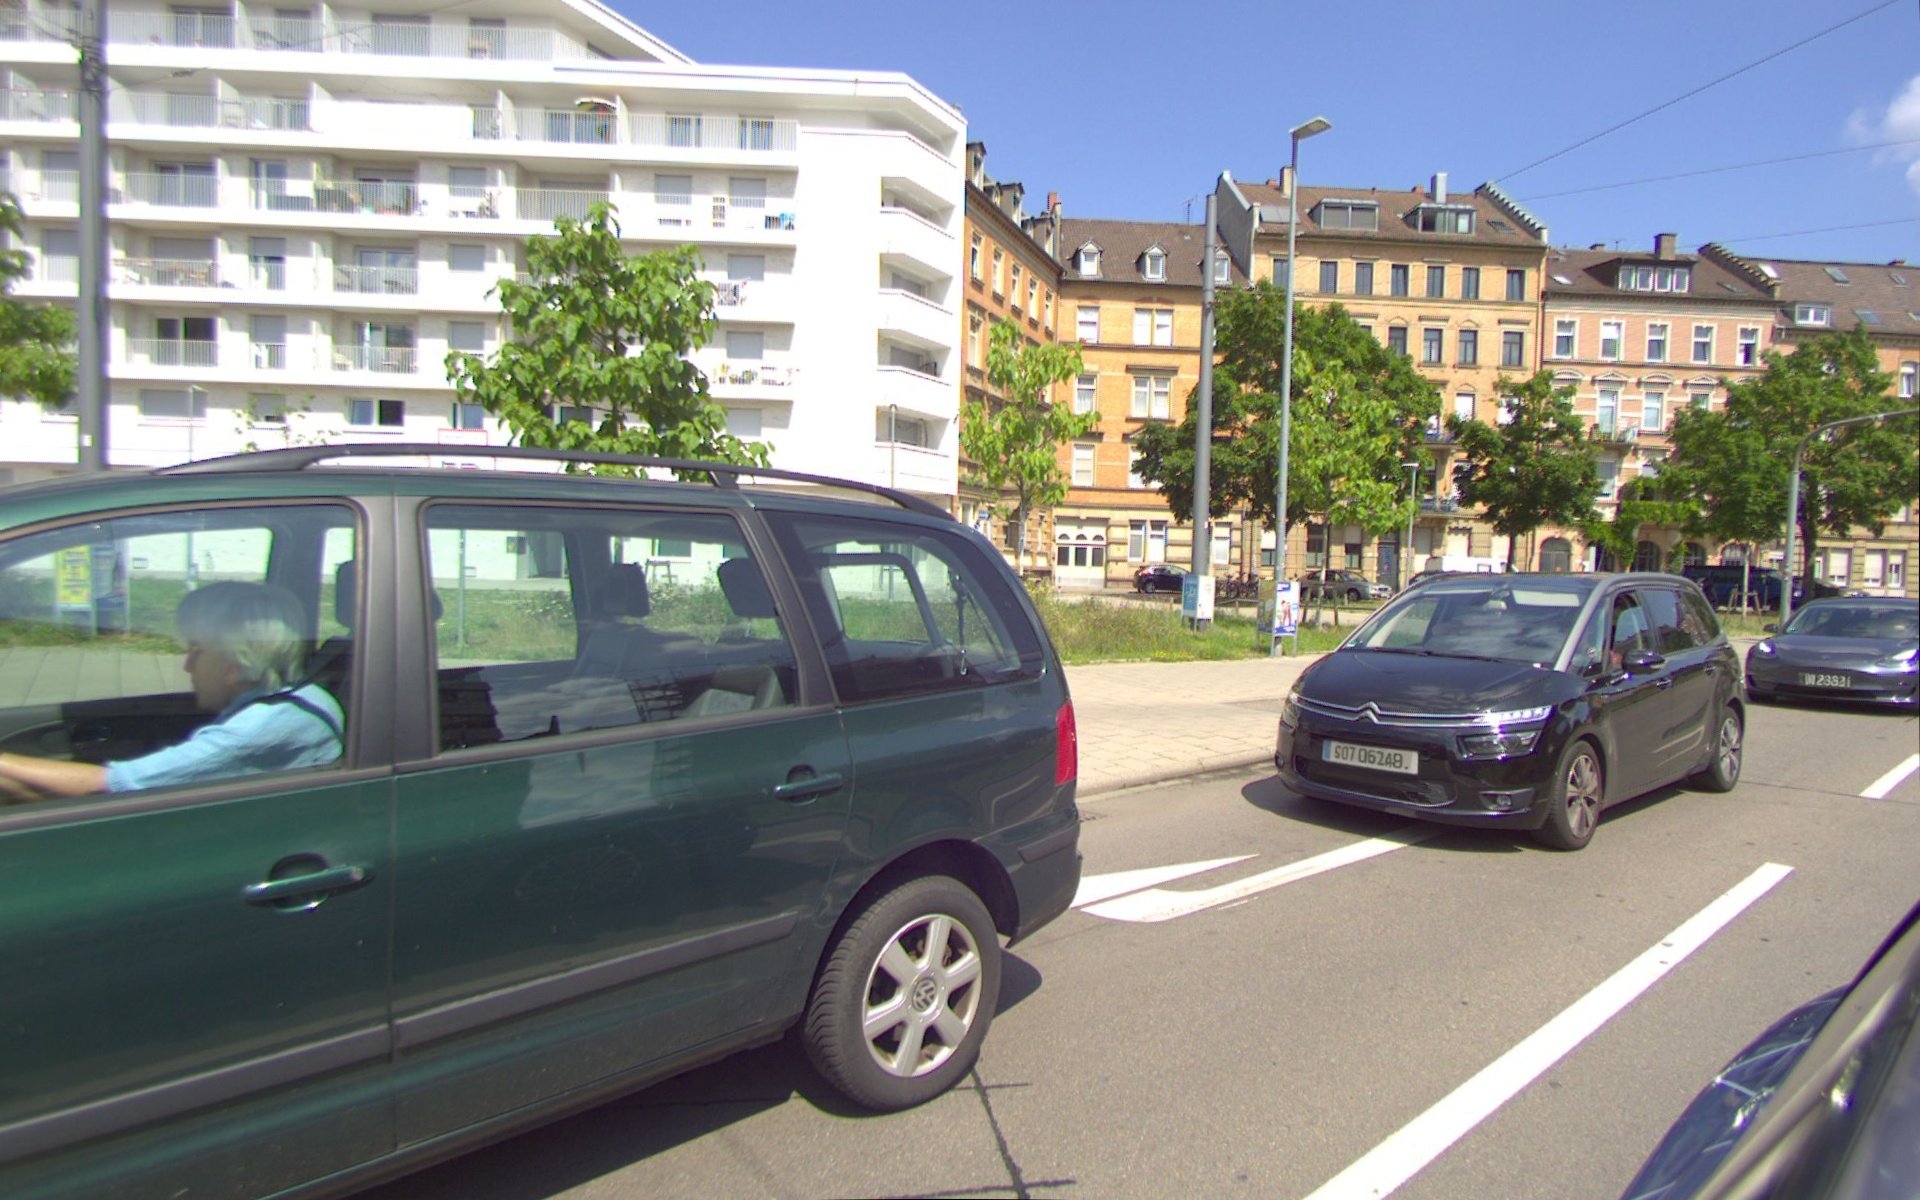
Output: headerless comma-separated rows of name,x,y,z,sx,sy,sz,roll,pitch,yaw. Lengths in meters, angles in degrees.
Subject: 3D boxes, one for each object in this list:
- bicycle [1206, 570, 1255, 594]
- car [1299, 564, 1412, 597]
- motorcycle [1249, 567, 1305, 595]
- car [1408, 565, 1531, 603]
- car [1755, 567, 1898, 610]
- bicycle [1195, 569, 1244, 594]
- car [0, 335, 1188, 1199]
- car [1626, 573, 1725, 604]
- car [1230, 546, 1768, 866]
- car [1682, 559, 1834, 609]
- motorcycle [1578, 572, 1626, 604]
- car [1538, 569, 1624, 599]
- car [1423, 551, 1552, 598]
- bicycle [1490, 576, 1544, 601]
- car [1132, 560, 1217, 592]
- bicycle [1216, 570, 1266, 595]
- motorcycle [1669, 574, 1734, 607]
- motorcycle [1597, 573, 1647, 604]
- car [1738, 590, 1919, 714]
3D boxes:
bicycle,11.063,-0.741,41.488,0.532,0.981,2.396,1,1,-25
car,16.009,-0.792,41.183,1.825,1.260,4.172,1,1,-26
motorcycle,13.189,-0.792,42.184,0.796,1.139,2.396,1,1,-25
car,21.120,-0.699,42.089,1.769,1.445,4.265,0,2,-31
car,36.377,-0.502,42.610,1.878,1.677,4.181,1,1,-28
bicycle,10.548,-0.745,41.234,0.532,0.981,2.396,1,1,-25
car,-1.654,0.467,2.582,4.944,1.778,1.822,0,1,-41
car,36.010,-0.592,50.994,3.779,1.510,1.665,1,1,-1
car,3.975,0.511,7.203,4.113,1.639,1.876,0,2,-38
car,33.394,-0.686,42.497,1.879,1.951,4.633,0,1,-32
motorcycle,25.073,-0.470,39.538,0.627,1.181,1.791,1,2,-3
car,31.239,-0.818,50.968,3.288,1.420,1.569,1,2,1
car,26.309,-1.258,50.579,5.290,2.206,2.118,1,1,-1
bicycle,21.299,-0.445,38.706,1.784,0.912,0.544,1,1,-5
car,10.554,-1.196,50.004,3.779,1.510,1.665,1,1,-1
bicycle,11.573,-0.737,41.723,0.532,0.981,2.396,1,1,-25
motorcycle,28.473,-0.370,38.872,1.876,1.181,0.638,2,2,11
motorcycle,25.857,-0.462,39.566,0.627,1.181,1.791,1,2,-3
car,12.320,0.587,13.502,4.231,1.411,1.916,0,1,-35
